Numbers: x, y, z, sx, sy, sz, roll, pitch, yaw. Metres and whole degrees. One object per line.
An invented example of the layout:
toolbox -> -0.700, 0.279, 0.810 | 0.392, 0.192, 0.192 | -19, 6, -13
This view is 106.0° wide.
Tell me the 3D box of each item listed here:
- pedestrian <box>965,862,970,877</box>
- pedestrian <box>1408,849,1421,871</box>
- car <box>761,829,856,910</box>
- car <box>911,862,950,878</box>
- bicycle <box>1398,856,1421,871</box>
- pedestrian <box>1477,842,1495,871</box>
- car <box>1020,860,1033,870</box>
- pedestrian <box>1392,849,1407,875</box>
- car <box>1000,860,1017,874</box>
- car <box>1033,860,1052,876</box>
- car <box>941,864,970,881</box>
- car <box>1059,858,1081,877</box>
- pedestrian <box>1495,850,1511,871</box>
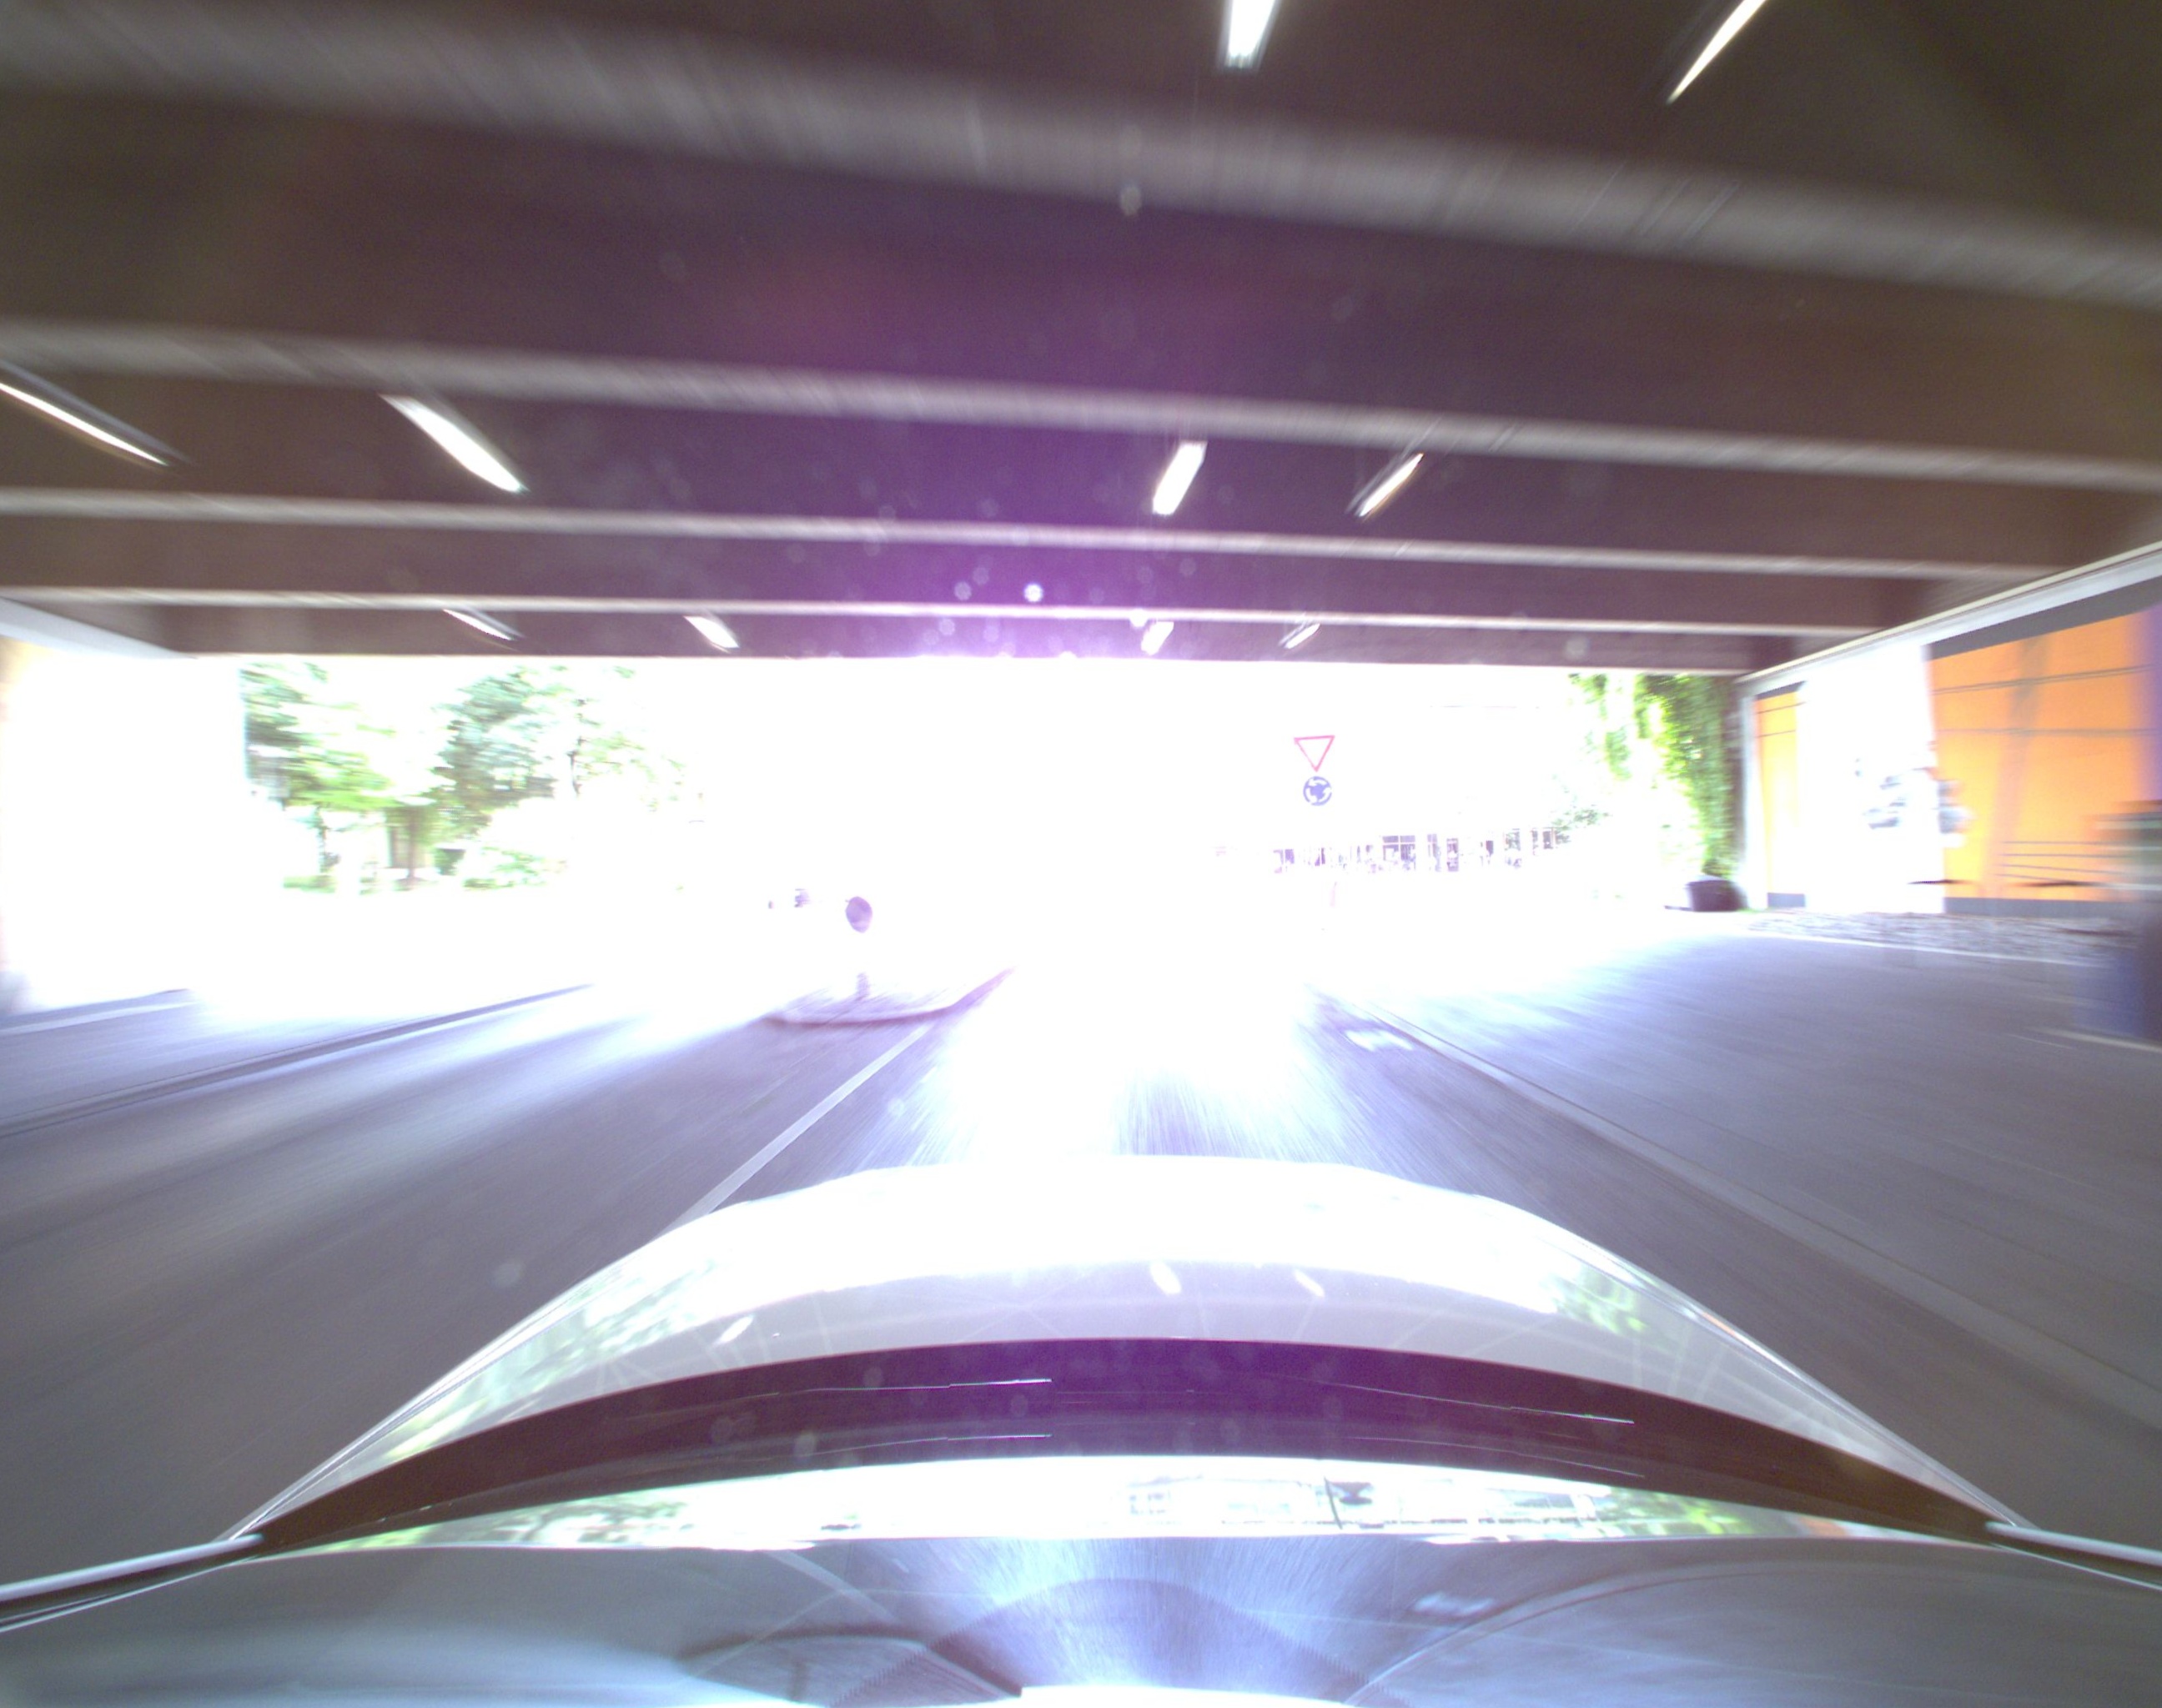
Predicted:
pedestrian -> -13.153, 1.783, 94.654 | 0.550, 1.686, 0.515 | -1, 0, -5
pedestrian -> 24.940, 0.454, 60.886 | 0.696, 1.674, 0.615 | -1, -1, -13
car -> -9.624, 0.508, 29.293 | 1.965, 2.607, 5.918 | 0, 0, -6
car -> -18.131, 1.873, 97.976 | 4.430, 1.776, 1.988 | -1, -1, -18
bicycle -> 24.561, 0.718, 60.870 | 1.523, 1.168, 0.499 | -1, -2, 31
pedestrian -> 26.395, 0.157, 53.093 | 0.615, 1.818, 0.696 | -5, 0, -7
car -> -7.465, 1.486, 110.880 | 1.707, 1.354, 3.993 | -1, 0, -5
pedestrian -> 21.193, 0.533, 54.248 | 0.699, 1.674, 0.612 | -1, -1, -25
car -> -7.277, 1.317, 81.850 | 1.707, 1.354, 3.993 | -1, 0, -5
car -> -3.981, 1.408, 84.007 | 1.820, 1.519, 4.229 | -2, -1, -2
car -> -10.298, 1.519, 67.134 | 1.704, 1.245, 4.410 | -1, 0, 0
car -> -0.994, 1.264, 77.242 | 1.817, 1.731, 4.234 | -3, -1, 2
pedestrian -> 25.729, 0.388, 49.630 | 0.613, 1.285, 0.698 | -1, -1, 0
